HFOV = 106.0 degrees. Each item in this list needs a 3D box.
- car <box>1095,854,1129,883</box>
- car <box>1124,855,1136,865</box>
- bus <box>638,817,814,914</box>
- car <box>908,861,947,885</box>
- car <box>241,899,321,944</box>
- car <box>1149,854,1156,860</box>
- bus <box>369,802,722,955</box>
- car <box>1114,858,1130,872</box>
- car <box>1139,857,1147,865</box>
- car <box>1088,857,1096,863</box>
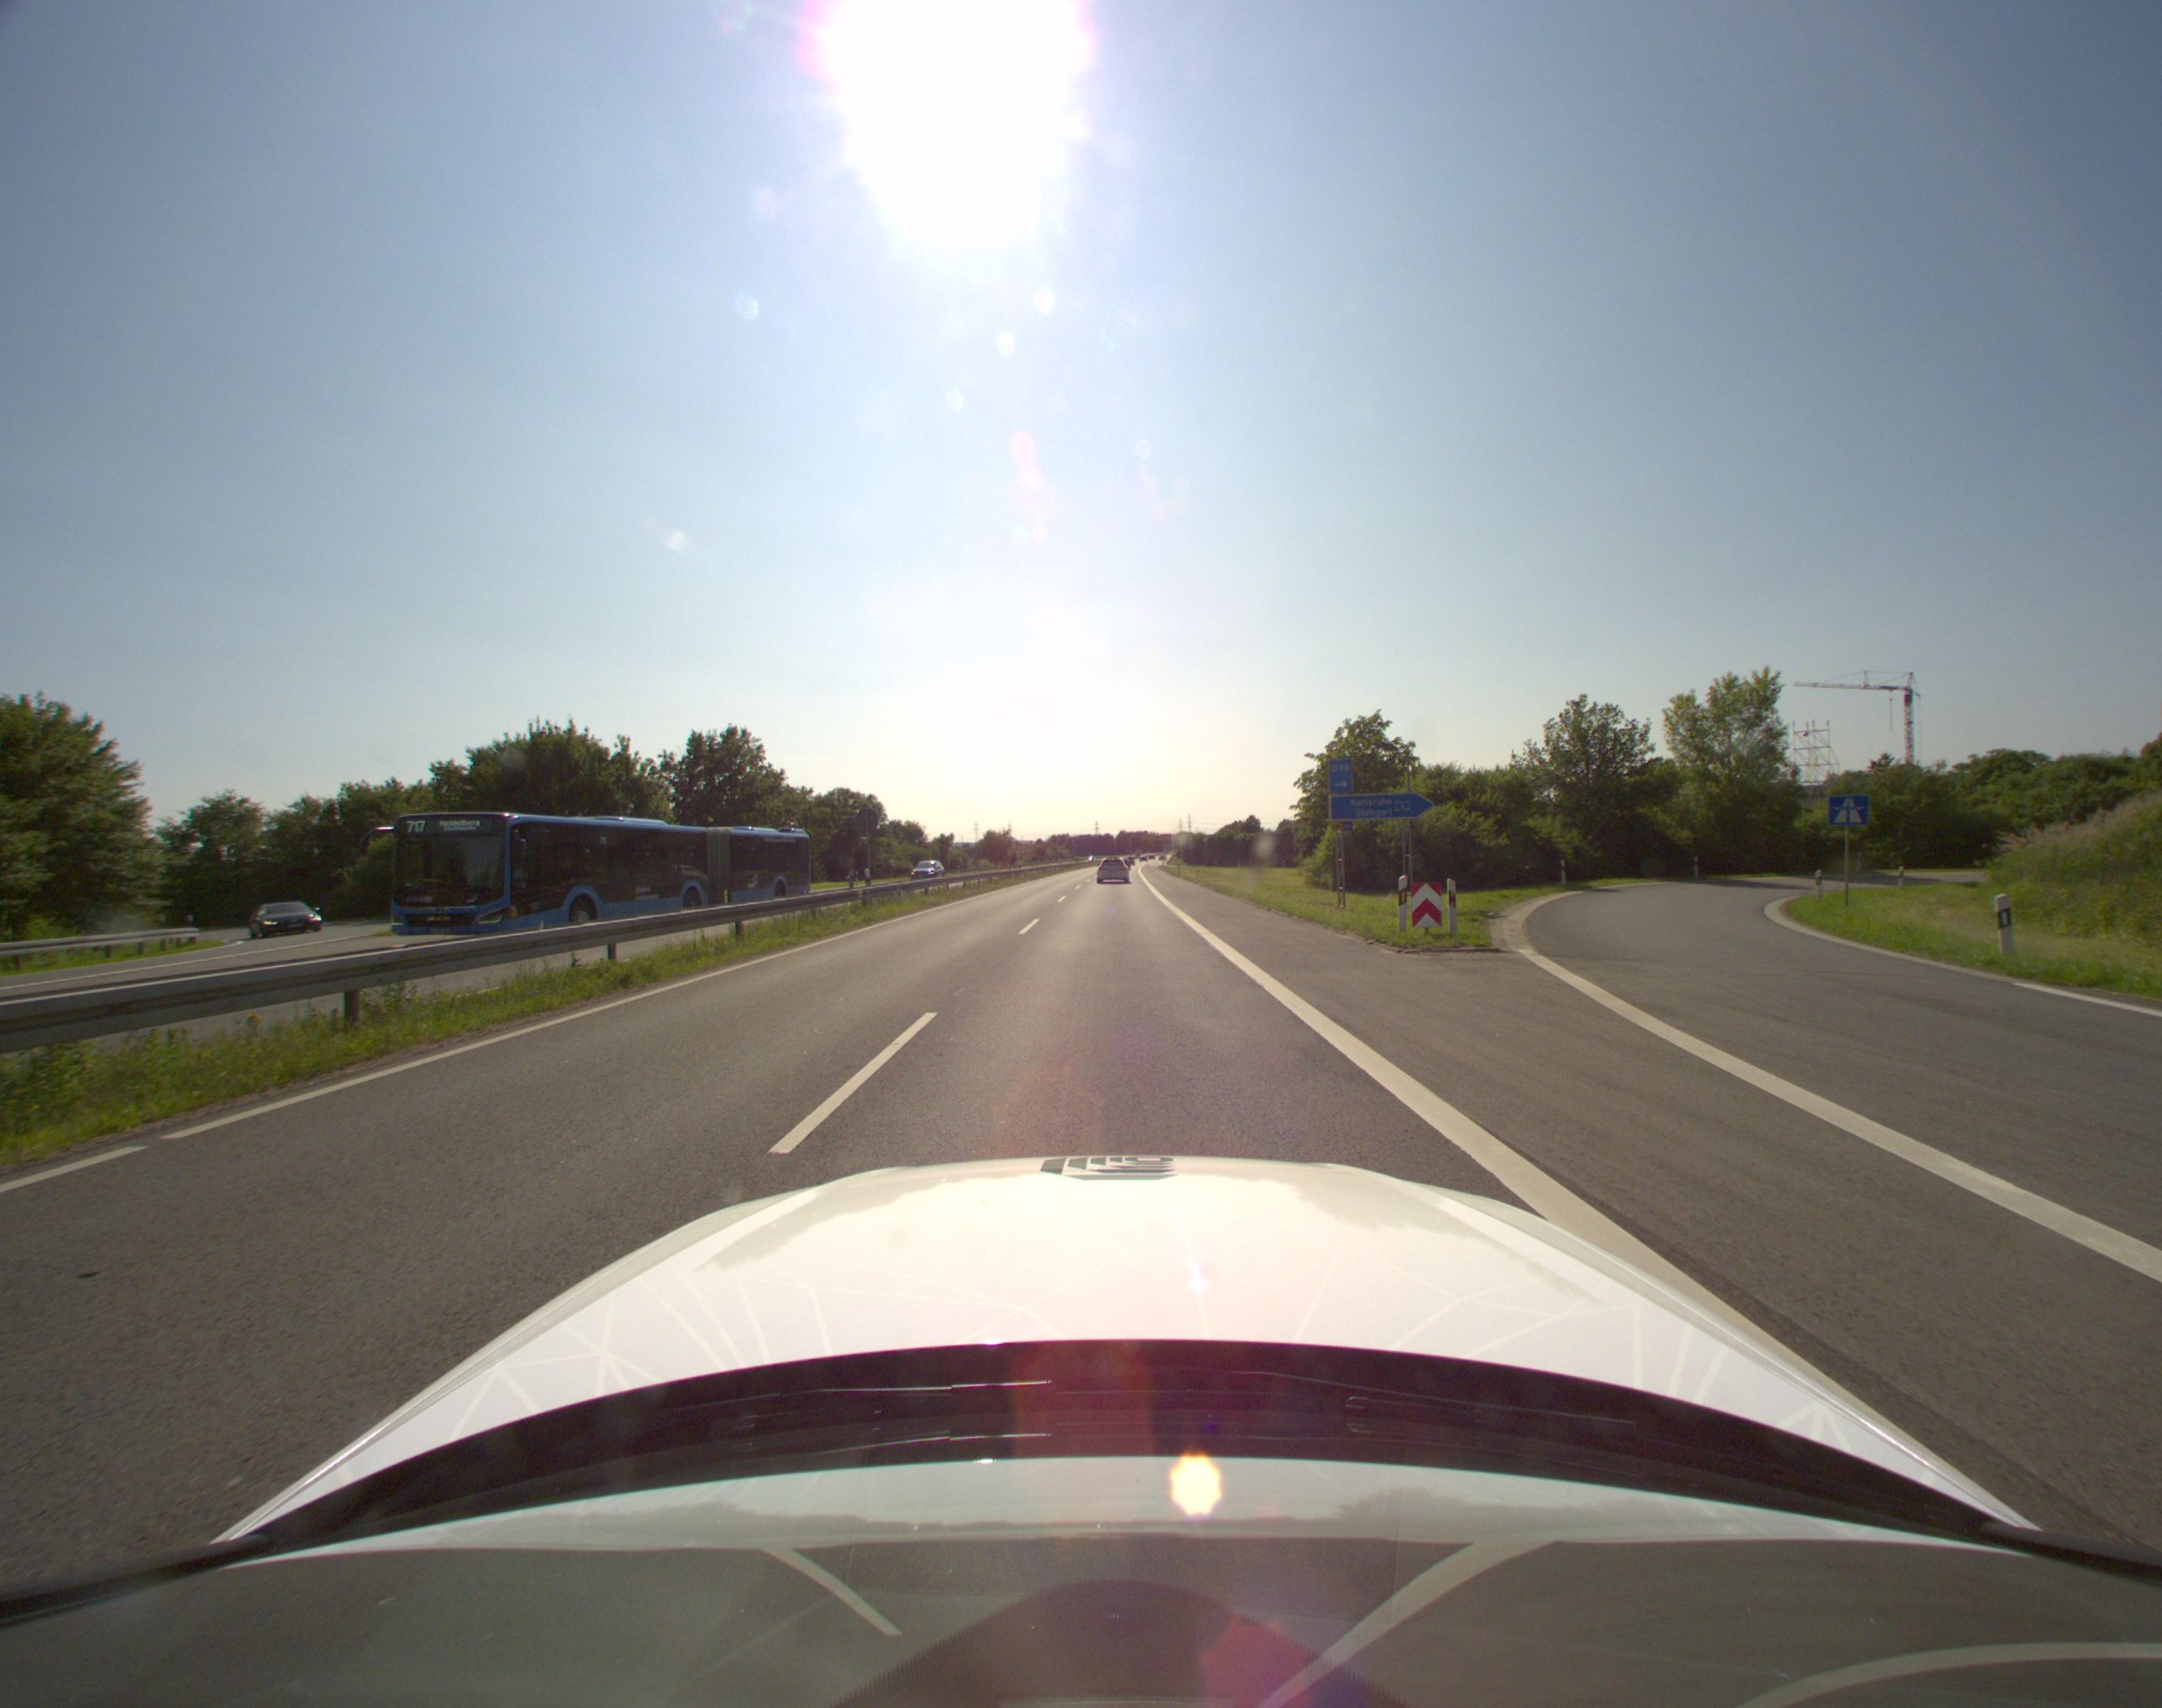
[{"bbox_3d":[1.821,0.811,48.395,1.951,1.601,4.109,-1,1,1],"label":"car"},{"bbox_3d":[8.143,0.981,134.595,1.760,1.736,3.638,-1,0,6],"label":"car"},{"bbox_3d":[-13.105,0.360,31.135,2.715,3.110,8.397,-2,0,2],"label":"bus"},{"bbox_3d":[-11.630,1.414,62.072,1.985,1.605,4.277,0,1,2],"label":"car"},{"bbox_3d":[-35.432,2.944,36.023,4.691,1.700,1.852,-1,0,37],"label":"car"},{"bbox_3d":[20.482,0.779,233.627,1.831,1.698,4.008,-1,0,7],"label":"car"},{"bbox_3d":[-13.387,0.504,21.974,2.715,3.110,9.838,-2,0,2],"label":"bus"},{"bbox_3d":[4.673,1.221,92.203,1.785,1.543,3.675,-1,0,4],"label":"car"},{"bbox_3d":[14.882,1.642,195.004,1.832,1.802,4.007,-1,0,6],"label":"car"},{"bbox_3d":[2.915,1.570,208.467,1.801,1.351,4.279,0,1,4],"label":"car"}]
